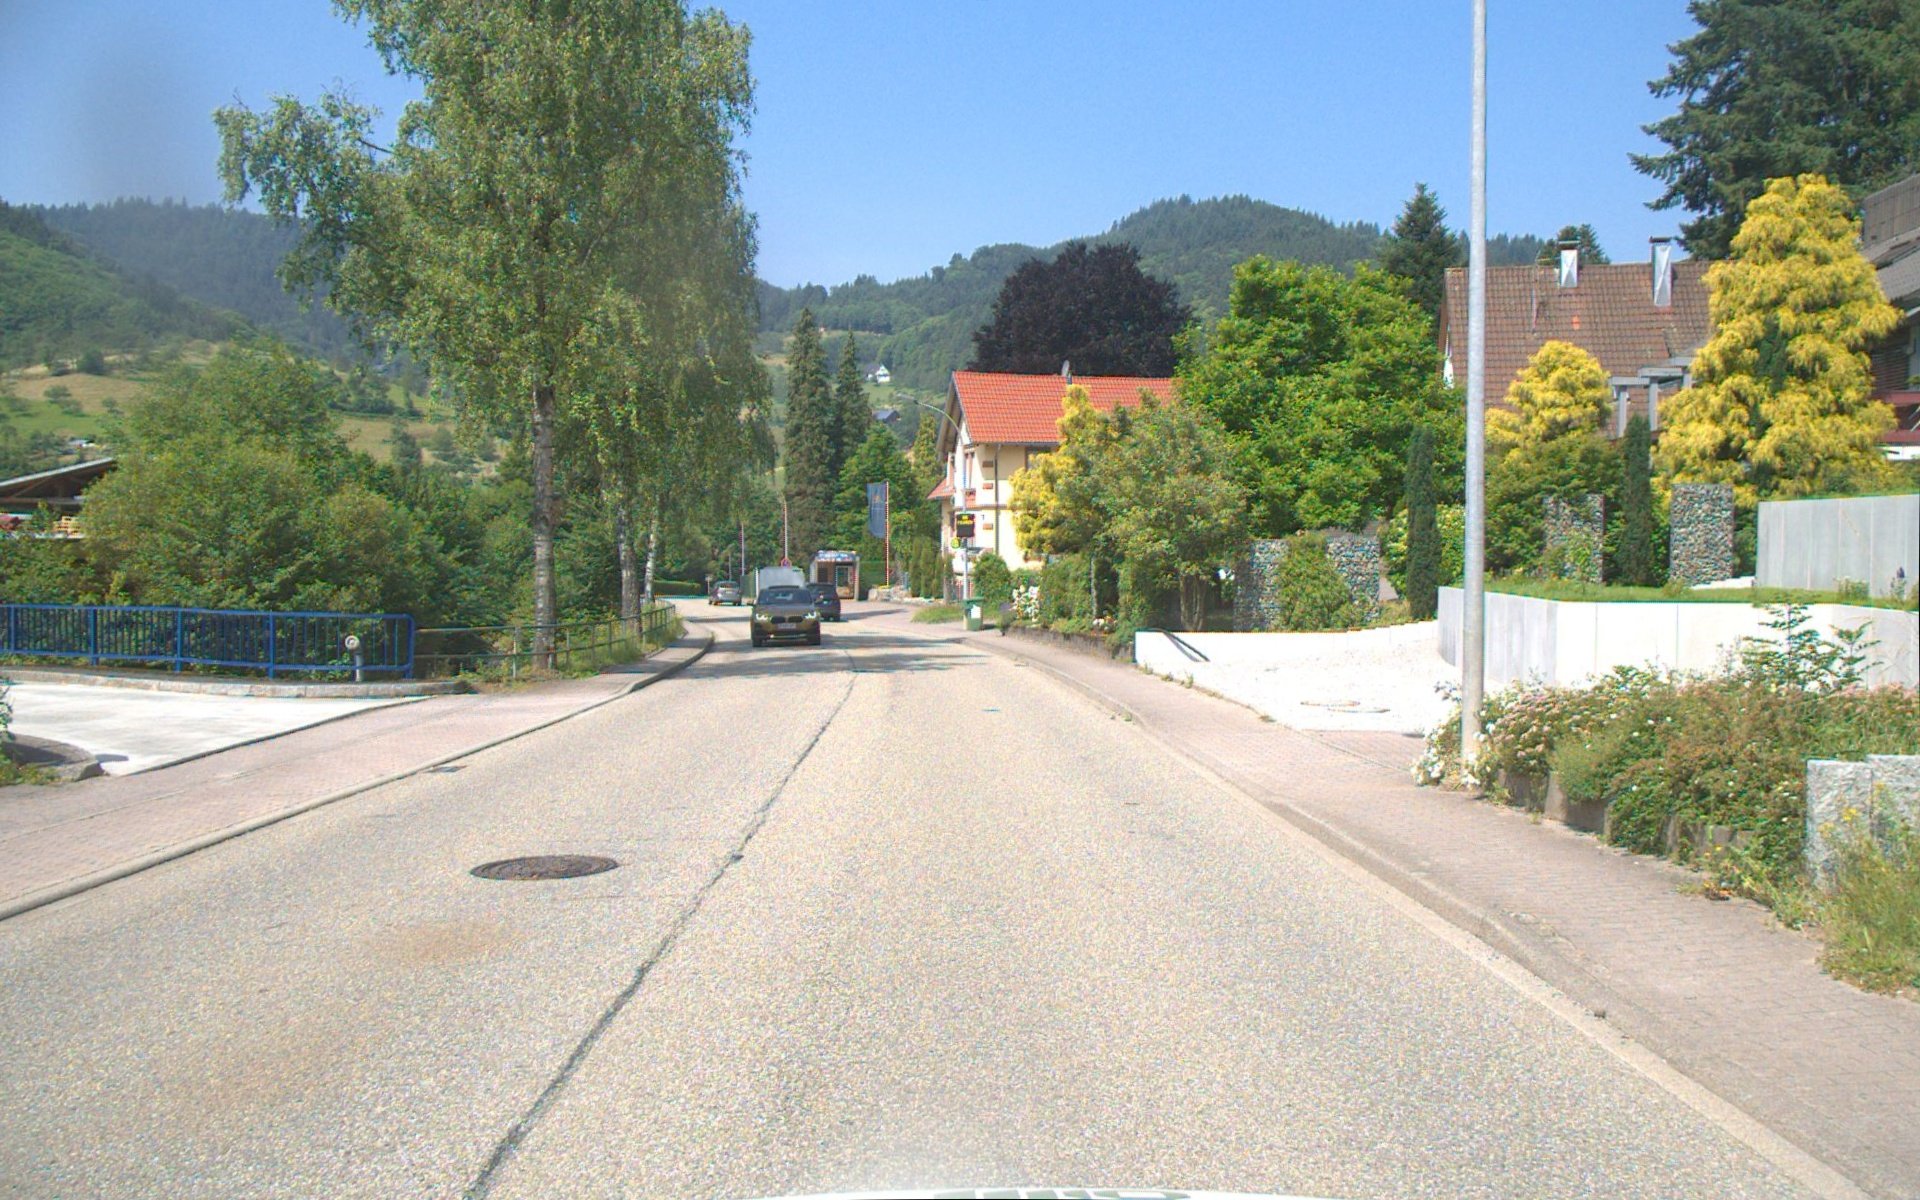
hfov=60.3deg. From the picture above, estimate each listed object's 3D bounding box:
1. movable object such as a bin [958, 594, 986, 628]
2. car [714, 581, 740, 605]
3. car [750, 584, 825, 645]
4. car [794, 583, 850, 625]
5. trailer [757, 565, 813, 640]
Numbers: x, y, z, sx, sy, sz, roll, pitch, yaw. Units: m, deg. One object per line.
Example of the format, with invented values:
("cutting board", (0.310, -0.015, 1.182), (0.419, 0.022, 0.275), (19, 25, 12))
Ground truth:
("movable object such as a bin", (0.392, 0.359, 53.659), (0.794, 1.060, 0.578), (-1, 1, -9))
("car", (-14.378, -0.454, 101.977), (1.598, 1.447, 3.392), (0, 0, -8))
("car", (-4.582, 0.354, 44.381), (1.777, 1.527, 4.147), (-1, 0, -3))
("car", (-5.920, 0.145, 70.462), (1.886, 1.728, 3.776), (-1, 0, -12))
("trailer", (-5.128, 0.047, 48.806), (1.438, 2.114, 3.668), (-1, 0, -3))
